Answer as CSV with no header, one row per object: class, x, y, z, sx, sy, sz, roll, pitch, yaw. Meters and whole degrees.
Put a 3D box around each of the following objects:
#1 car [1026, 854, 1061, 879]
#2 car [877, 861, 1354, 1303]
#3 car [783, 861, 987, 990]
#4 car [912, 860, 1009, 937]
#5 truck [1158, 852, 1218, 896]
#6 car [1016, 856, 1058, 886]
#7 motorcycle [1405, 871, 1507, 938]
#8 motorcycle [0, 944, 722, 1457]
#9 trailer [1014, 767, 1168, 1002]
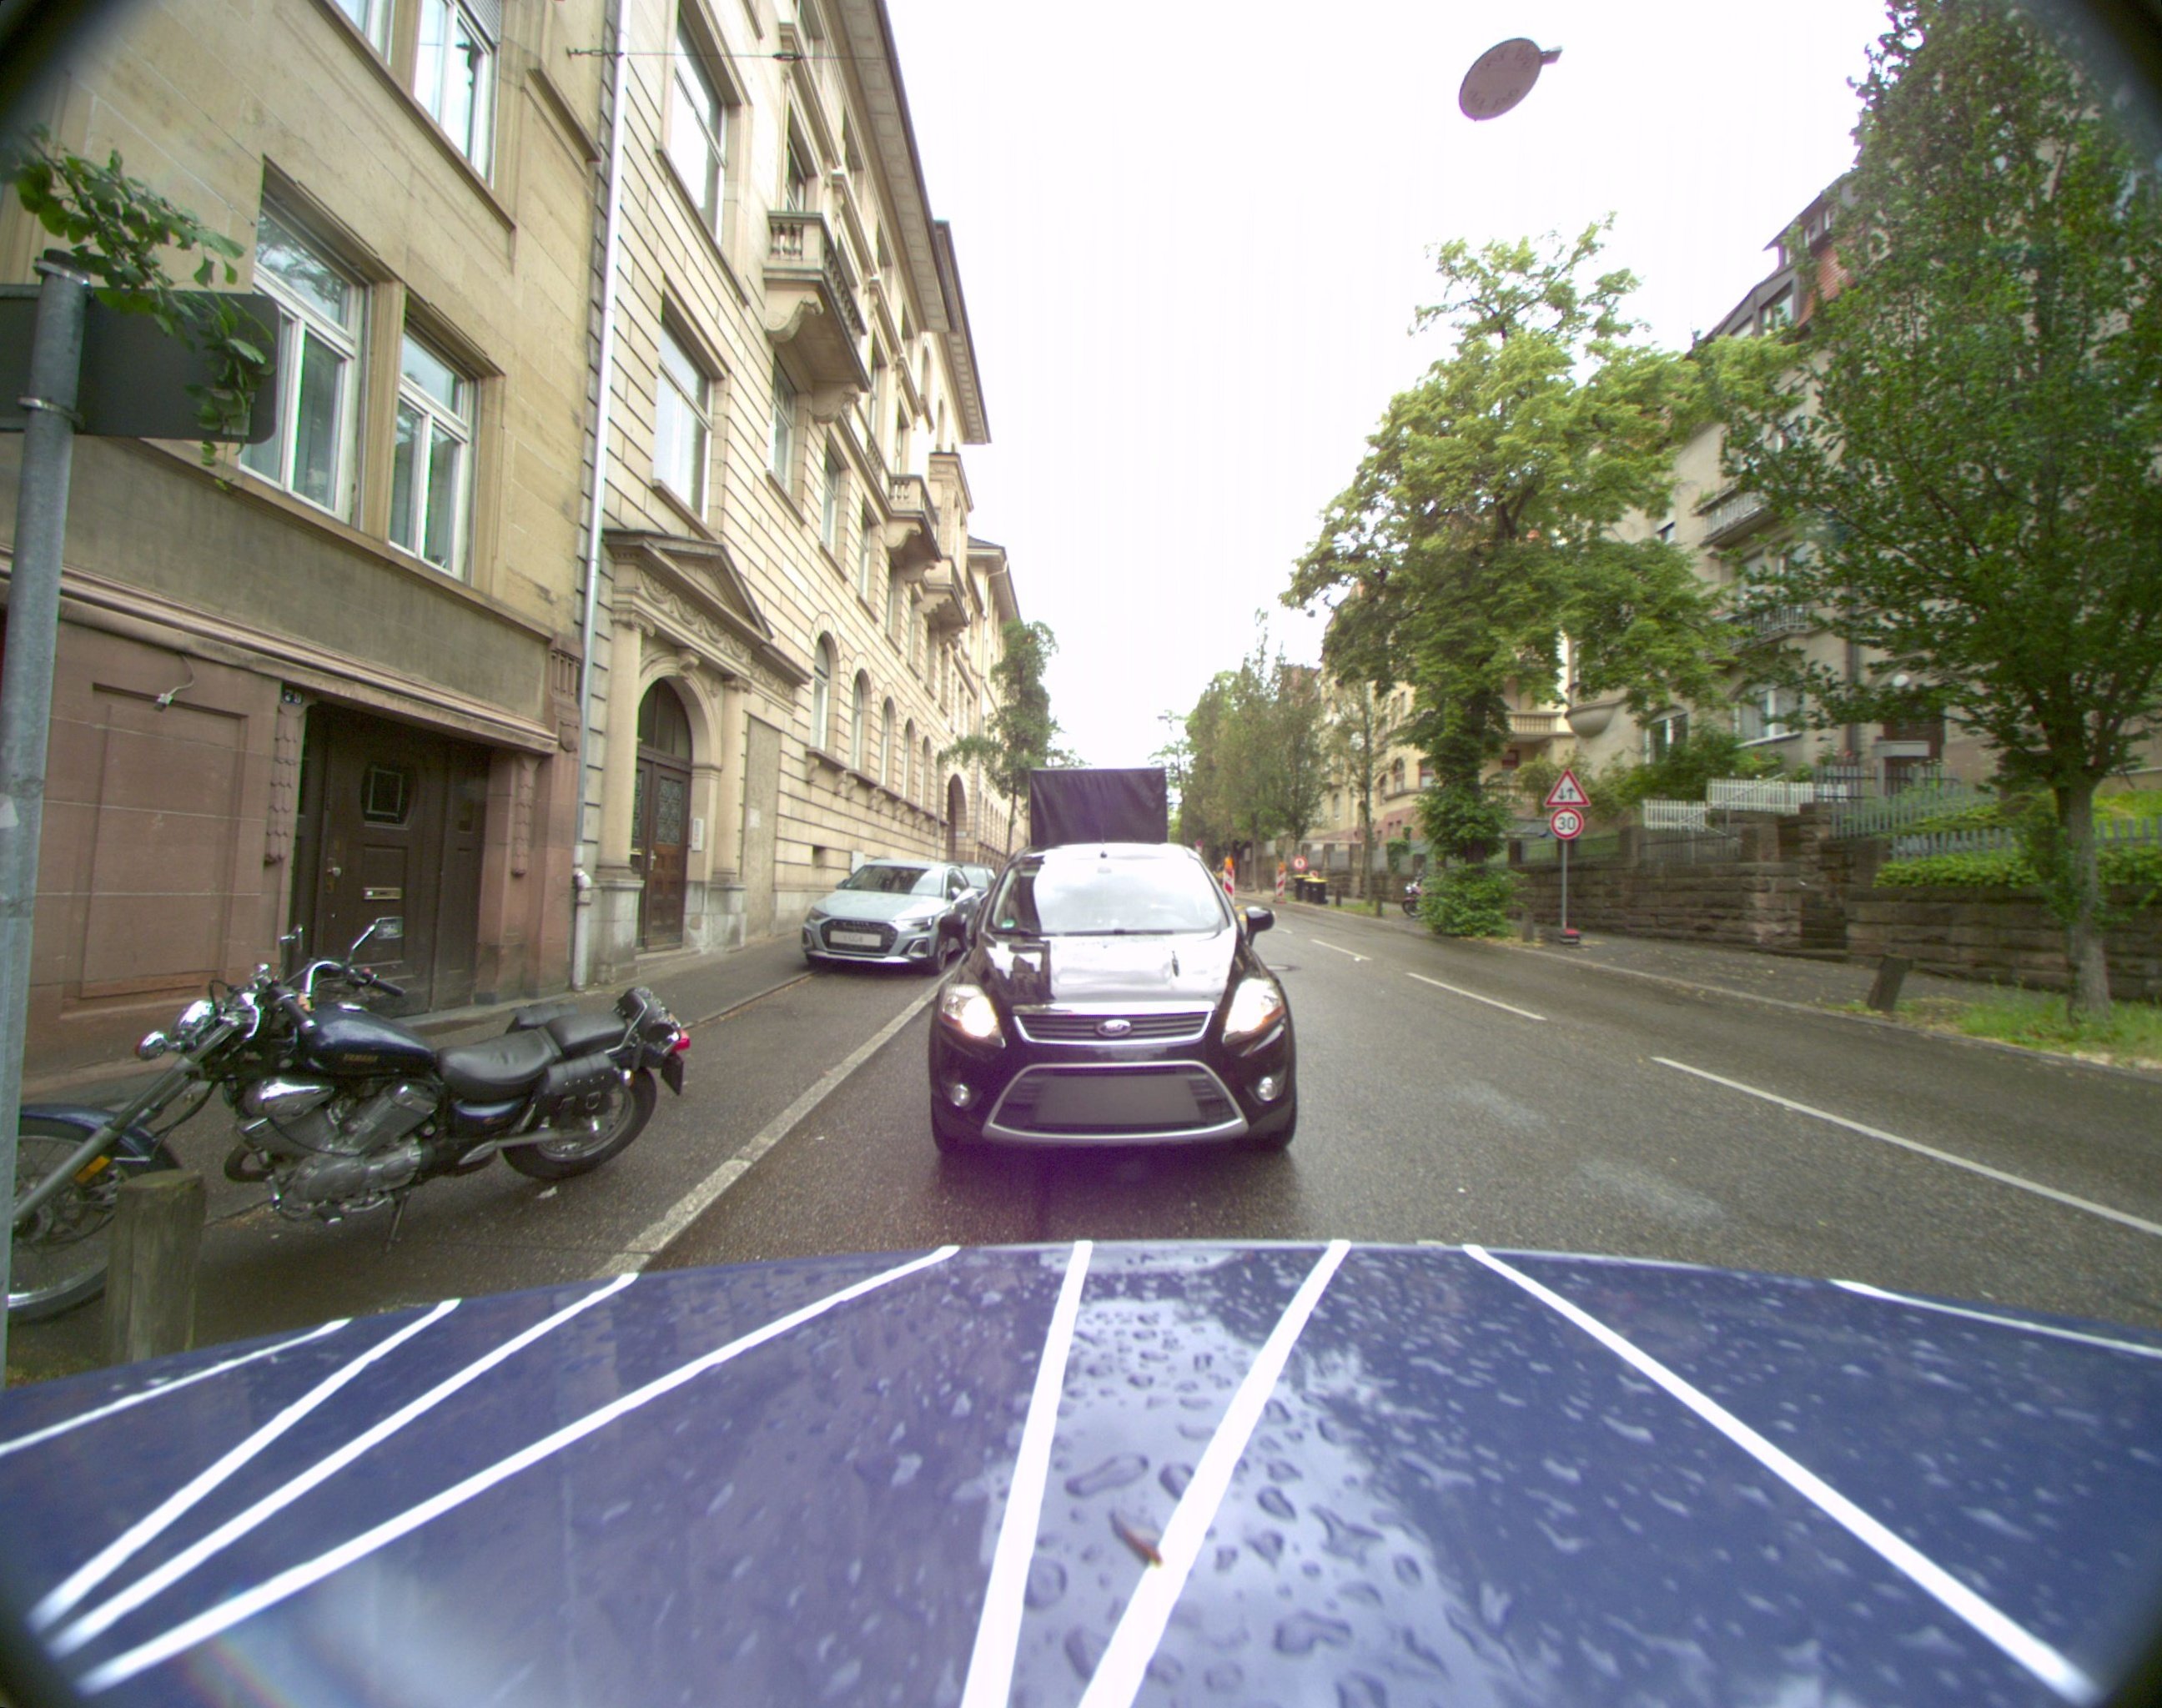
car,-2.404,0.794,50.225,1.910,1.502,4.318,3,0,1
car,0.187,0.895,5.177,1.823,1.662,4.522,0,0,1
car,-2.634,0.884,11.242,1.794,1.444,4.039,3,0,1
car,-2.568,0.898,16.798,1.495,1.440,3.181,3,0,1
truck,4.891,0.867,35.367,2.075,1.825,5.154,2,0,1
car,-2.407,0.902,42.460,1.910,1.502,4.318,3,0,1
motorcycle,8.886,1.145,18.199,0.802,1.406,3.061,-2,0,-2
motorcycle,-2.589,1.009,2.722,0.523,1.236,2.282,3,-1,39
trailer,0.117,0.345,11.296,1.783,2.744,4.816,0,1,0
